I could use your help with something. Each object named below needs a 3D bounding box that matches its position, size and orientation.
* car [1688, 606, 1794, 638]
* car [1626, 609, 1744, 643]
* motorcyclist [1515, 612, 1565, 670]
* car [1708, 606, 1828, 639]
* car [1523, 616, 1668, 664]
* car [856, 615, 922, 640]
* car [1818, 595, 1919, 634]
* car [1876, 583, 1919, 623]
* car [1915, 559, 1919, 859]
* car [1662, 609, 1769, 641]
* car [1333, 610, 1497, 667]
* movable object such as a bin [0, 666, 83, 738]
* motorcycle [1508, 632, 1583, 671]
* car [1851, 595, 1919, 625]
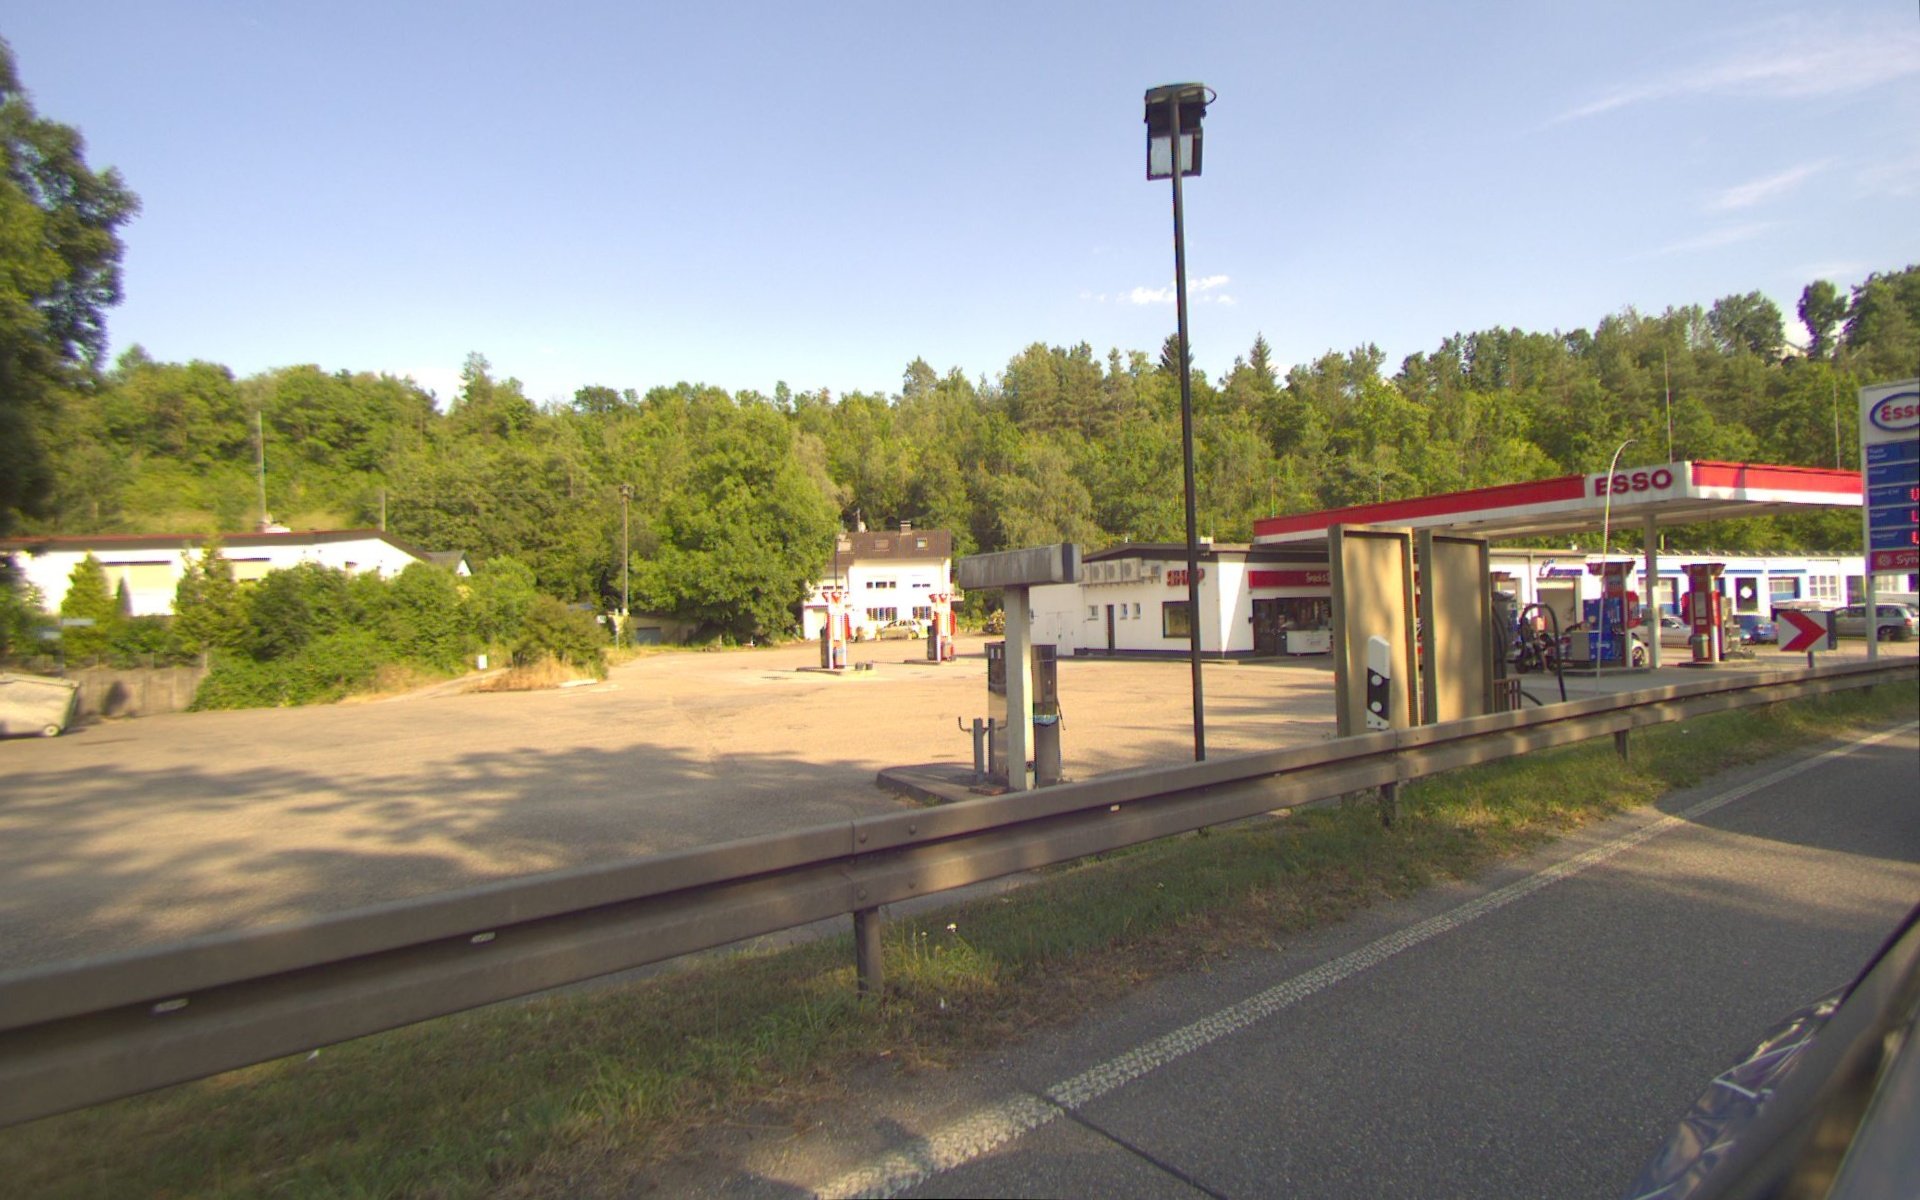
[{"bbox_3d":[36.879,1.023,47.865,1.698,1.464,3.560,-1,-1,-26],"label":"car"},{"bbox_3d":[32.695,1.146,45.730,1.741,1.371,3.973,-1,1,-30],"label":"car"},{"bbox_3d":[16.943,1.188,29.558,0.909,1.625,0.862,0,-1,-27],"label":"motorcyclist"},{"bbox_3d":[38.795,1.053,48.694,1.856,1.365,4.087,-1,2,-26],"label":"car"},{"bbox_3d":[19.944,1.215,31.757,4.299,1.336,1.851,-1,-1,-26],"label":"car"},{"bbox_3d":[-5.666,2.191,81.477,5.068,1.860,2.701,-1,-1,0],"label":"car"},{"bbox_3d":[46.265,0.706,50.944,1.854,1.750,4.267,-1,2,-29],"label":"car"},{"bbox_3d":[56.973,0.164,58.539,2.248,2.302,5.500,0,1,-26],"label":"car"},{"bbox_3d":[7.584,0.594,6.177,4.359,1.661,1.860,0,0,-37],"label":"car"},{"bbox_3d":[34.934,1.125,46.876,1.656,1.424,3.566,-1,0,-26],"label":"car"},{"bbox_3d":[14.611,1.187,32.474,5.074,1.649,2.102,-1,-1,-28],"label":"car"},{"bbox_3d":[-20.394,2.203,21.589,2.512,1.439,1.267,0,-4,-41],"label":"movable object such as a bin"},{"bbox_3d":[17.160,1.497,29.652,2.293,1.025,0.765,-1,-1,-27],"label":"motorcycle"},{"bbox_3d":[52.797,0.544,56.449,1.856,1.631,4.261,-1,1,-26],"label":"car"}]
